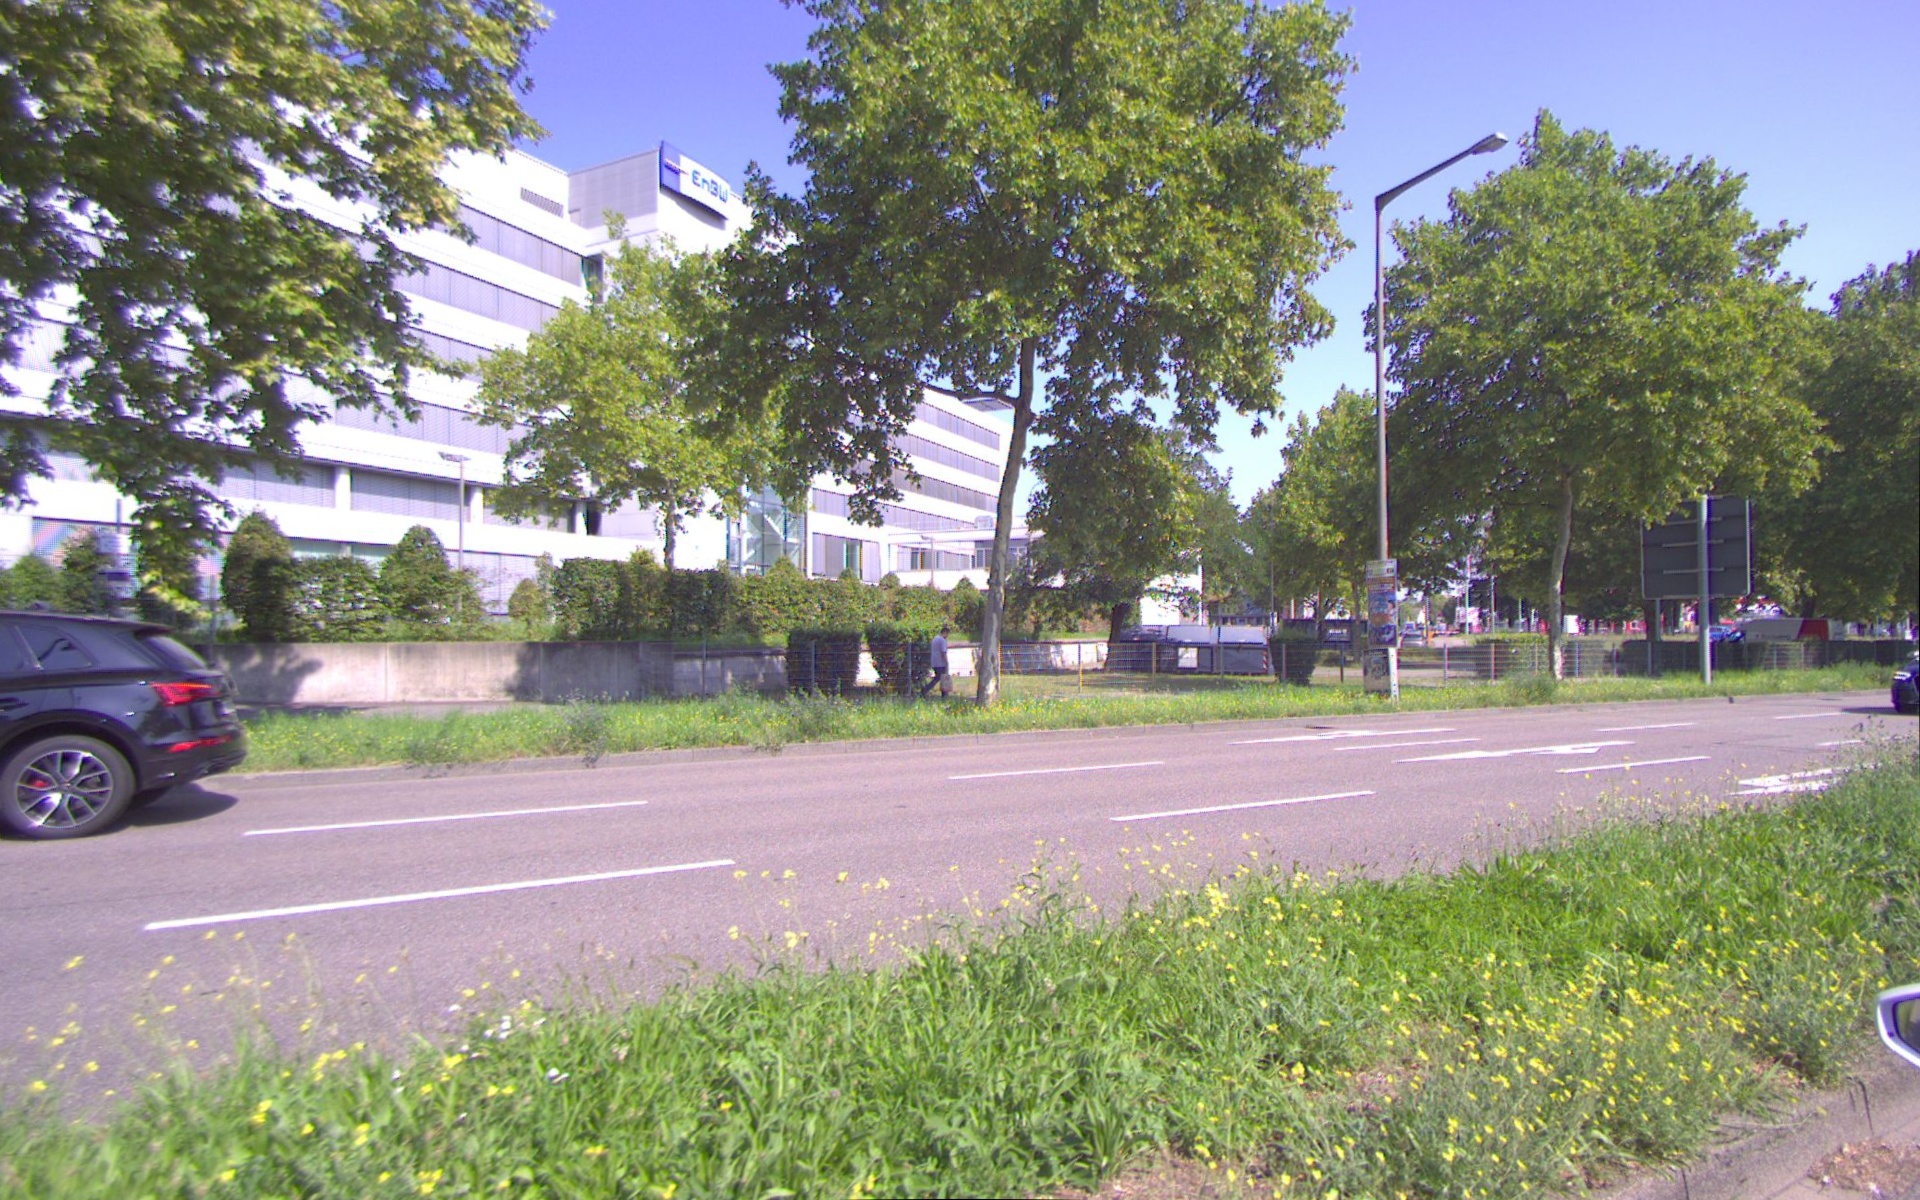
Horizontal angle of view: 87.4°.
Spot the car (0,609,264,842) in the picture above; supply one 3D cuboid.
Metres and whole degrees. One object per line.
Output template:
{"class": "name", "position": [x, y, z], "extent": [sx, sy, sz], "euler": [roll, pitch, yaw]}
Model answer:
{"class": "car", "position": [-8.010, 0.877, 7.363], "extent": [4.553, 1.626, 1.838], "euler": [1, -1, -28]}

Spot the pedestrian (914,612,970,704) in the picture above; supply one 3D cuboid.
{"class": "pedestrian", "position": [-0.408, 1.331, 23.564], "extent": [0.995, 2.041, 1.268], "euler": [-1, 1, 14]}

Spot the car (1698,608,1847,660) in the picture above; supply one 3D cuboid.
{"class": "car", "position": [41.880, 1.691, 51.941], "extent": [2.251, 2.369, 5.558], "euler": [-2, 1, -29]}

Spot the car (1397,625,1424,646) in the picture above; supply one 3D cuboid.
{"class": "car", "position": [37.265, 2.919, 82.984], "extent": [1.896, 1.472, 3.995], "euler": [-1, 1, 26]}

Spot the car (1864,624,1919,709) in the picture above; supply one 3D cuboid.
{"class": "car", "position": [20.167, 1.292, 20.001], "extent": [4.296, 1.605, 1.984], "euler": [1, -4, -31]}
